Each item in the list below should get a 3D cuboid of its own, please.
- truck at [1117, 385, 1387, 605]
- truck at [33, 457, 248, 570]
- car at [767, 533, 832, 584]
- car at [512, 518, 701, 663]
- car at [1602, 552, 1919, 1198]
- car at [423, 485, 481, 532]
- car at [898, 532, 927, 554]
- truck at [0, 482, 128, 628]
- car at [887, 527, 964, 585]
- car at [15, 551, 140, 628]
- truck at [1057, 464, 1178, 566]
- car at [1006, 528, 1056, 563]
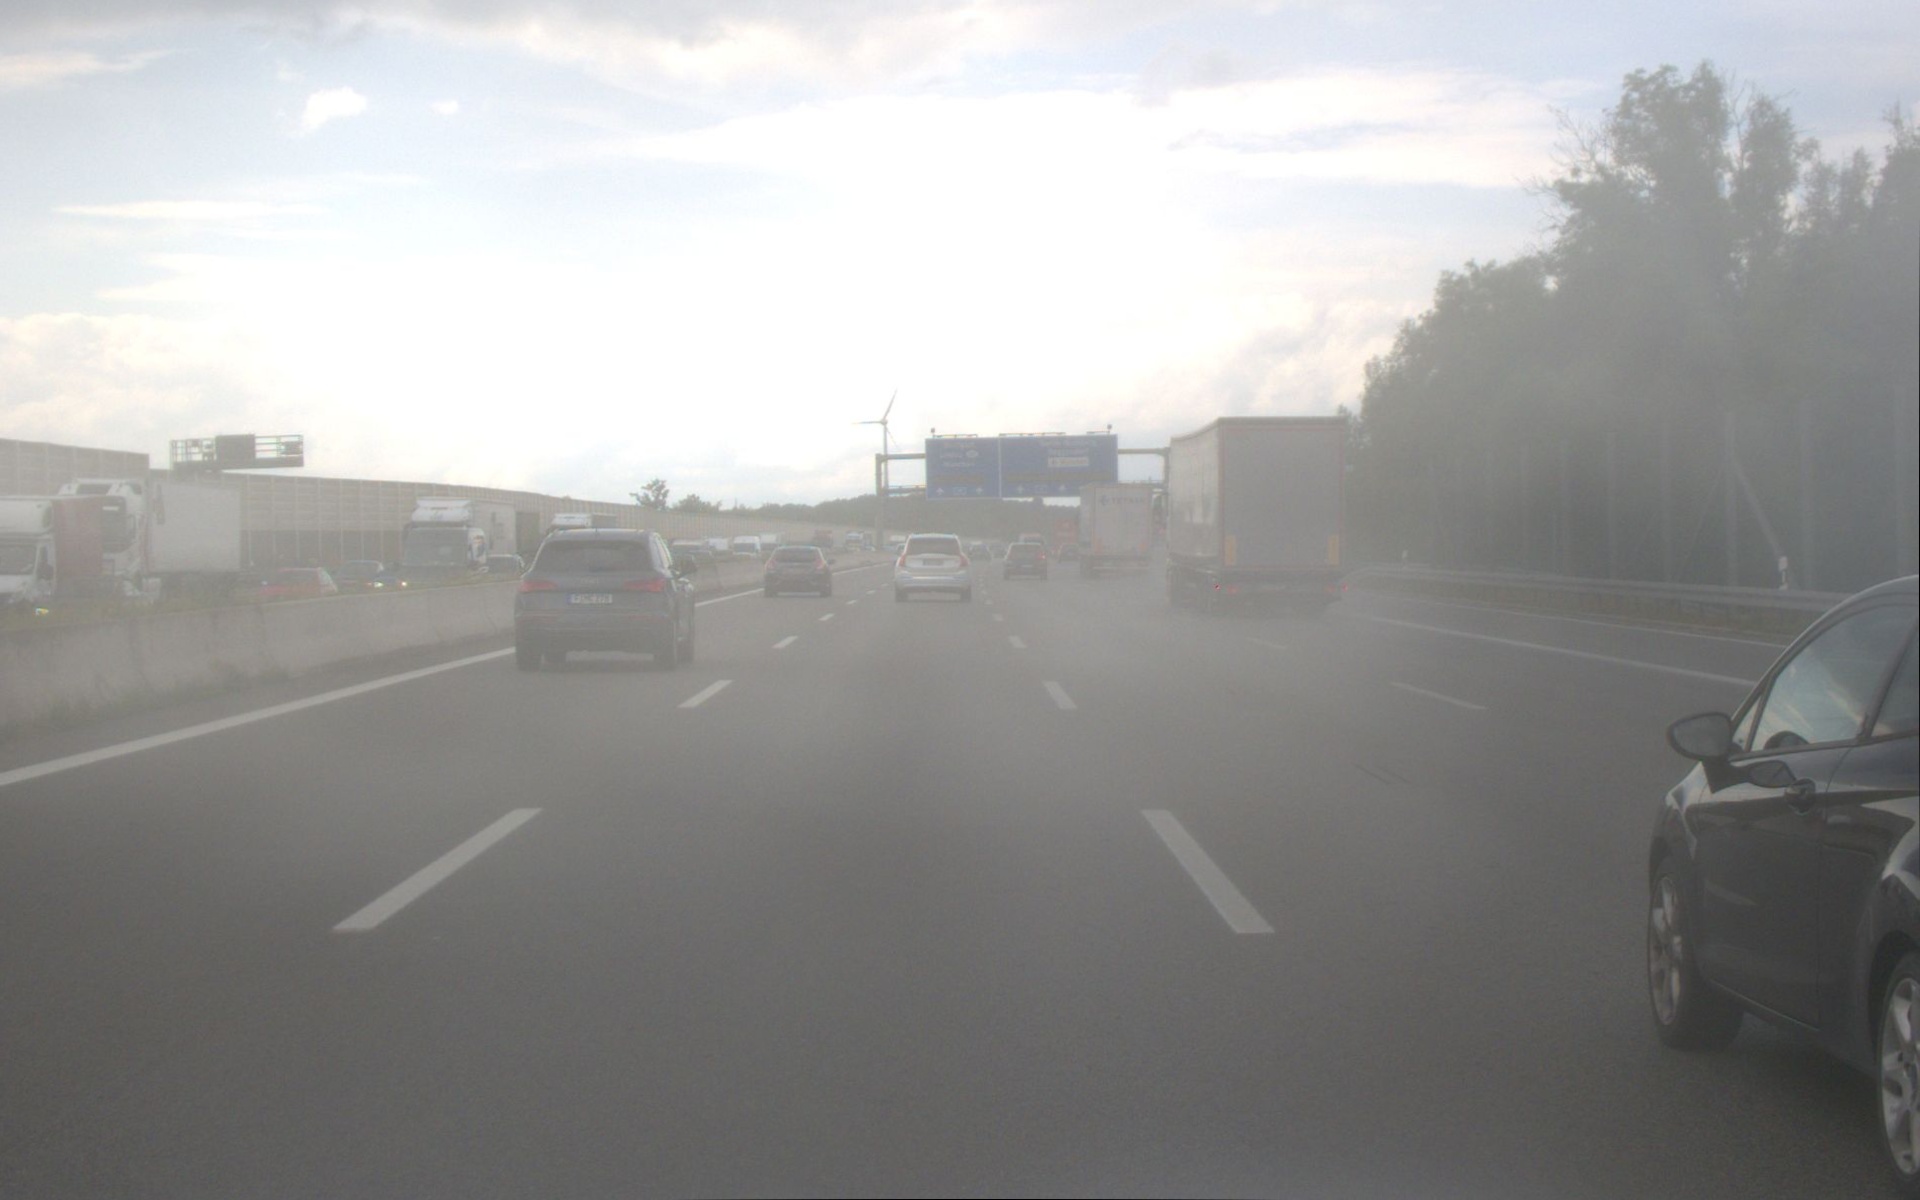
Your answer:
[{"bbox_3d":[6.081,-2.210,74.429,4.179,4.273,12.614,1,1,-2],"label":"truck"},{"bbox_3d":[-26.296,-2.758,111.395,3.266,3.340,16.086,1,1,-1],"label":"truck"},{"bbox_3d":[-4.554,-1.189,96.989,1.760,1.364,5.061,0,1,-4],"label":"car"},{"bbox_3d":[-4.288,-0.166,42.405,1.908,1.685,5.169,0,1,-1],"label":"car"},{"bbox_3d":[2.782,0.601,9.332,1.447,1.436,3.164,0,1,-1],"label":"car"},{"bbox_3d":[-22.520,-4.038,152.538,1.993,2.007,4.000,1,1,-1],"label":"car"},{"bbox_3d":[-3.172,-3.819,229.302,1.772,1.436,3.874,0,1,-3],"label":"car"},{"bbox_3d":[-22.243,-1.121,82.972,2.321,3.336,8.354,1,1,-1],"label":"truck"},{"bbox_3d":[-0.923,-1.151,89.167,1.772,1.436,4.056,0,1,-4],"label":"car"},{"bbox_3d":[-18.584,-0.249,72.523,1.663,1.529,3.888,1,1,-1],"label":"car"},{"bbox_3d":[6.768,-3.682,149.865,4.243,4.162,11.991,1,1,-2],"label":"truck"},{"bbox_3d":[2.960,-2.286,143.466,1.835,1.436,4.056,0,1,-2],"label":"car"}]
